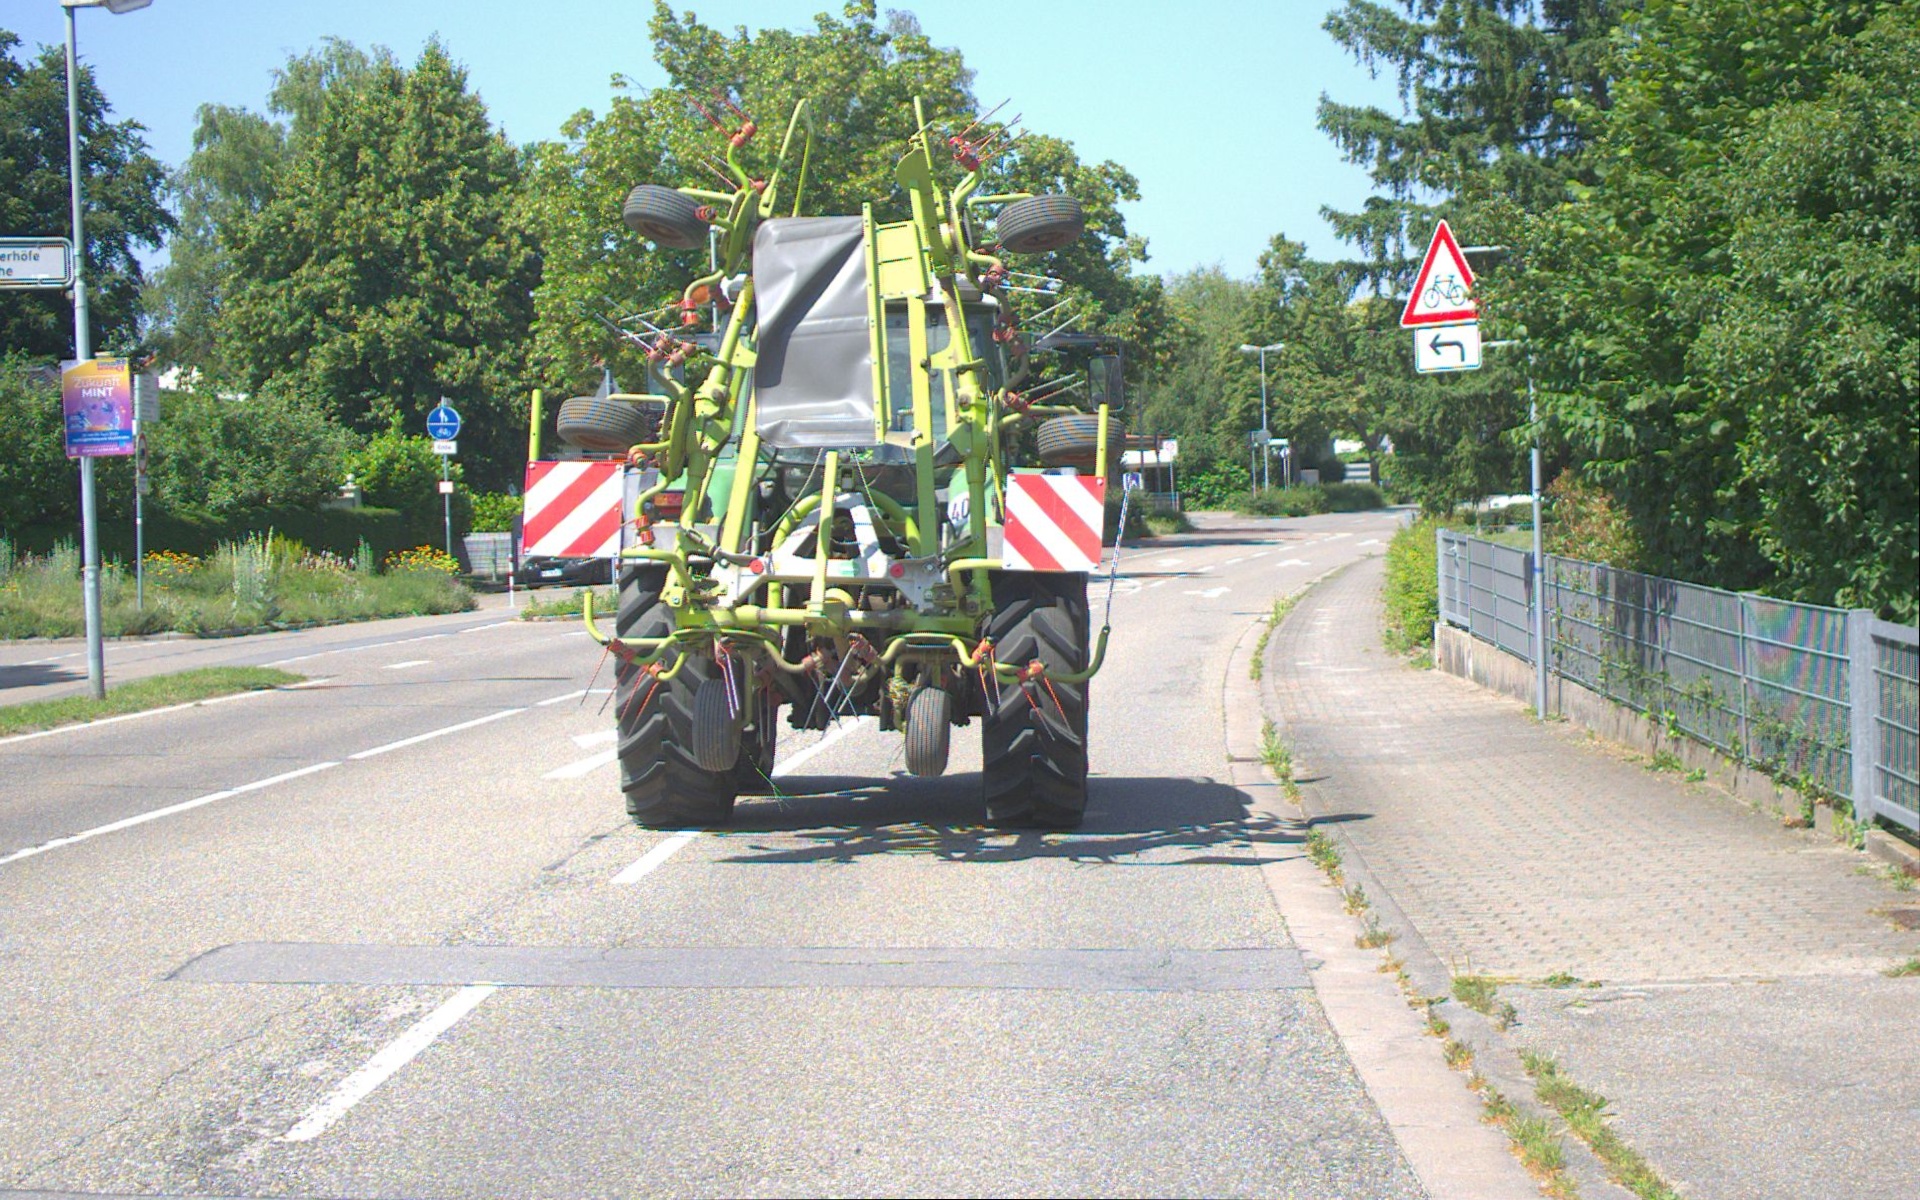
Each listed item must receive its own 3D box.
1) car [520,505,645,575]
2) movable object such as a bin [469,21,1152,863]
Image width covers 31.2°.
[{"bbox_3d":[-8.624,-1.399,78.852,1.689,1.524,3.998,0,2,11],"label":"car"},{"bbox_3d":[-0.471,-0.801,19.444,2.853,3.529,9.701,-1,2,2],"label":"movable object such as a bin"}]
